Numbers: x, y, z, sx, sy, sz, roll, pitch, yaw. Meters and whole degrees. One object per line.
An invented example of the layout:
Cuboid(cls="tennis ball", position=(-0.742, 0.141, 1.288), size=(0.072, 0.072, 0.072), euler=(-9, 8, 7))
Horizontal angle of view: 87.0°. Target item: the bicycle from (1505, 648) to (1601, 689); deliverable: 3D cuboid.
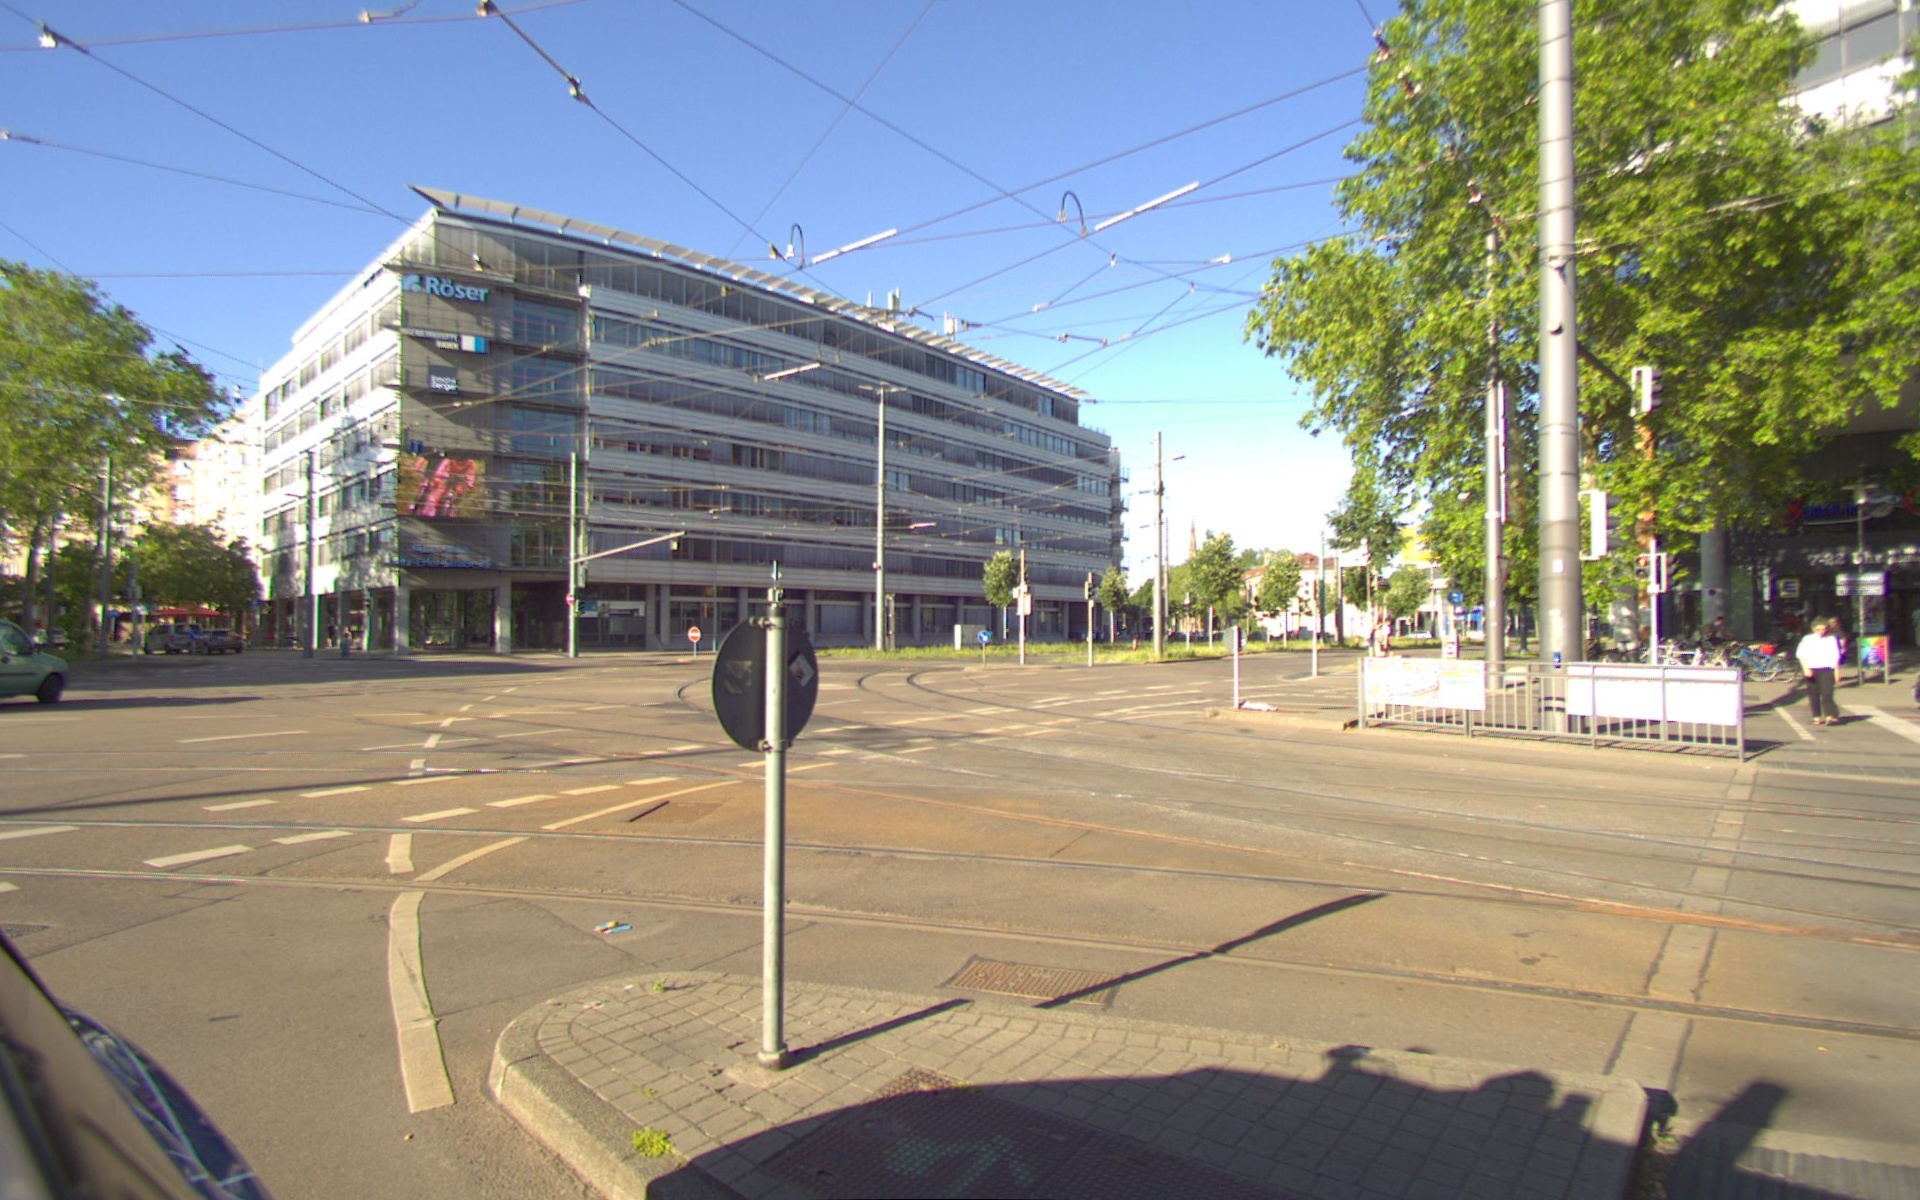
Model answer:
Cuboid(cls="bicycle", position=(17.489, 1.997, 29.889), size=(2.367, 1.137, 0.590), euler=(-2, -3, 43))

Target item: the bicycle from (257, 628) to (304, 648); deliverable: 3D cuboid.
Cuboid(cls="bicycle", position=(-43.437, 2.452, 64.690), size=(2.359, 1.223, 0.776), euler=(3, -5, -45))

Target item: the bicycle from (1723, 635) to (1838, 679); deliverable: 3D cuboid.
Cuboid(cls="bicycle", position=(22.099, 1.508, 27.308), size=(2.366, 1.137, 0.590), euler=(-2, -3, 42))

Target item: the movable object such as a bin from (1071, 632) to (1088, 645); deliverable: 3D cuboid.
Cuboid(cls="movable object such as a bin", position=(12.042, 3.911, 101.861), size=(1.329, 1.311, 1.157), euler=(-2, -3, 43))

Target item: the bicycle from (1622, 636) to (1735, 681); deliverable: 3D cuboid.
Cuboid(cls="bicycle", position=(18.882, 1.531, 26.653), size=(2.366, 1.137, 0.590), euler=(-2, -3, 42))

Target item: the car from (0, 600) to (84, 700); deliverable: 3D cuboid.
Cuboid(cls="car", position=(-18.683, 0.911, 18.702), size=(1.816, 1.850, 4.115), euler=(1, -1, -9))

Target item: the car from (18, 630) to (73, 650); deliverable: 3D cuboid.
Cuboid(cls="car", position=(-69.339, 3.017, 76.727), size=(3.958, 1.486, 1.850), euler=(-1, -2, 27))

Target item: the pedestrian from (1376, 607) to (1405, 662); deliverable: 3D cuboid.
Cuboid(cls="pedestrian", position=(15.011, 1.209, 35.269), size=(0.733, 1.884, 0.664), euler=(-2, -3, 40))

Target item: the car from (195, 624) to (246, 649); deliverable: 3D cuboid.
Cuboid(cls="car", position=(-44.401, 2.189, 60.770), size=(3.979, 1.486, 1.840), euler=(-2, -3, 44))

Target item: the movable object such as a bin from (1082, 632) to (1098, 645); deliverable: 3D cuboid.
Cuboid(cls="movable object such as a bin", position=(13.454, 4.004, 104.765), size=(1.174, 1.311, 1.310), euler=(-2, -3, 43))

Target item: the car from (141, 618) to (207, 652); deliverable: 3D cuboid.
Cuboid(cls="car", position=(-49.154, 2.207, 63.273), size=(4.443, 2.031, 1.847), euler=(-2, -2, 32))

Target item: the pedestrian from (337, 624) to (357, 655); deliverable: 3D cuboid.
Cuboid(cls="pedestrian", position=(-33.075, 2.127, 54.585), size=(0.792, 1.653, 0.652), euler=(-3, -4, 39))

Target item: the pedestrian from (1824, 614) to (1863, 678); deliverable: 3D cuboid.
Cuboid(cls="pedestrian", position=(23.835, 1.251, 27.296), size=(0.716, 1.693, 0.819), euler=(-2, -4, 43))

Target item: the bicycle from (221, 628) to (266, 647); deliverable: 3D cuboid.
Cuboid(cls="bicycle", position=(-47.391, 2.476, 66.990), size=(0.771, 1.223, 2.374), euler=(-2, -4, 25))

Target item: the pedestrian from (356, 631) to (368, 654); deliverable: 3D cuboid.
Cuboid(cls="pedestrian", position=(-32.347, 2.319, 54.740), size=(0.461, 1.219, 0.437), euler=(-3, -4, 39))

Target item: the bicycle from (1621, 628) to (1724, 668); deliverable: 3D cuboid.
Cuboid(cls="bicycle", position=(20.527, 1.373, 29.209), size=(2.366, 1.137, 0.590), euler=(-2, -3, 42))

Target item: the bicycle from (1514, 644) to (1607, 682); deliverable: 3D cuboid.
Cuboid(cls="bicycle", position=(18.392, 1.912, 31.048), size=(2.367, 1.137, 0.590), euler=(-2, -3, 43))

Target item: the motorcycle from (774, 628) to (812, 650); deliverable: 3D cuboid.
Cuboid(cls="motorcycle", position=(-9.776, 2.288, 59.395), size=(0.821, 1.230, 2.225), euler=(-1, -2, 40))

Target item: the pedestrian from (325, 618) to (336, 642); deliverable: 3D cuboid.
Cuboid(cls="pedestrian", position=(-45.813, 2.187, 73.662), size=(0.577, 1.747, 0.794), euler=(1, -4, -39))

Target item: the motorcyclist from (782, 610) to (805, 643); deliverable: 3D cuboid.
Cuboid(cls="motorcyclist", position=(-9.776, 1.561, 59.418), size=(0.821, 1.871, 1.097), euler=(-1, -2, 40))

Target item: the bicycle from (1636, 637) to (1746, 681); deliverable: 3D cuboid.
Cuboid(cls="bicycle", position=(19.825, 1.589, 27.485), size=(2.366, 1.137, 0.590), euler=(-2, -3, 42))

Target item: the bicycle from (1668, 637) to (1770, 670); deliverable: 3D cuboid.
Cuboid(cls="bicycle", position=(26.336, 1.850, 35.172), size=(0.881, 1.112, 2.698), euler=(2, -3, -34))

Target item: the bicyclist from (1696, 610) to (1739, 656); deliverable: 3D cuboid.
Cuboid(cls="bicyclist", position=(26.346, 1.162, 35.201), size=(0.881, 1.560, 0.941), euler=(2, -3, -35))

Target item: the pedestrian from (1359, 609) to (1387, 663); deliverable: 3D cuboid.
Cuboid(cls="pedestrian", position=(14.775, 1.285, 36.201), size=(0.733, 1.884, 0.689), euler=(-2, -3, 42))

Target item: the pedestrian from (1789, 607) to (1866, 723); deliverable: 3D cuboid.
Cuboid(cls="pedestrian", position=(13.079, 0.974, 15.260), size=(0.818, 1.693, 0.717), euler=(3, -4, -40))

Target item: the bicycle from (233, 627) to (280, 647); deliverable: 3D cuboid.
Cuboid(cls="bicycle", position=(-45.111, 2.370, 64.930), size=(0.771, 1.223, 2.374), euler=(-2, -4, 25))

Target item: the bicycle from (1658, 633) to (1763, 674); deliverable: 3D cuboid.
Cuboid(cls="bicycle", position=(21.572, 1.522, 29.139), size=(2.366, 1.137, 0.590), euler=(-2, -3, 42))

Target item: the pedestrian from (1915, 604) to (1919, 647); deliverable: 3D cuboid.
Cuboid(cls="pedestrian", position=(37.631, 0.974, 39.266), size=(0.687, 1.665, 0.707), euler=(1, -2, -39))

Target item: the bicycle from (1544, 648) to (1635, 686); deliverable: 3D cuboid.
Cuboid(cls="bicycle", position=(19.769, 2.083, 31.820), size=(2.367, 1.137, 0.590), euler=(-2, -3, 43))

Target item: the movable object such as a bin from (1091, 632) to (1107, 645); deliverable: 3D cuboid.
Cuboid(cls="movable object such as a bin", position=(14.513, 4.043, 105.588), size=(1.174, 1.311, 1.310), euler=(-2, -3, 43))

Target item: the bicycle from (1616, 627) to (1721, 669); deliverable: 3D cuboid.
Cuboid(cls="bicycle", position=(20.096, 1.346, 28.756), size=(2.366, 1.137, 0.590), euler=(-2, -3, 42))

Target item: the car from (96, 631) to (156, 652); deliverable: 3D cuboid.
Cuboid(cls="car", position=(-59.283, 2.936, 71.946), size=(3.958, 1.486, 1.850), euler=(-1, -2, 27))
